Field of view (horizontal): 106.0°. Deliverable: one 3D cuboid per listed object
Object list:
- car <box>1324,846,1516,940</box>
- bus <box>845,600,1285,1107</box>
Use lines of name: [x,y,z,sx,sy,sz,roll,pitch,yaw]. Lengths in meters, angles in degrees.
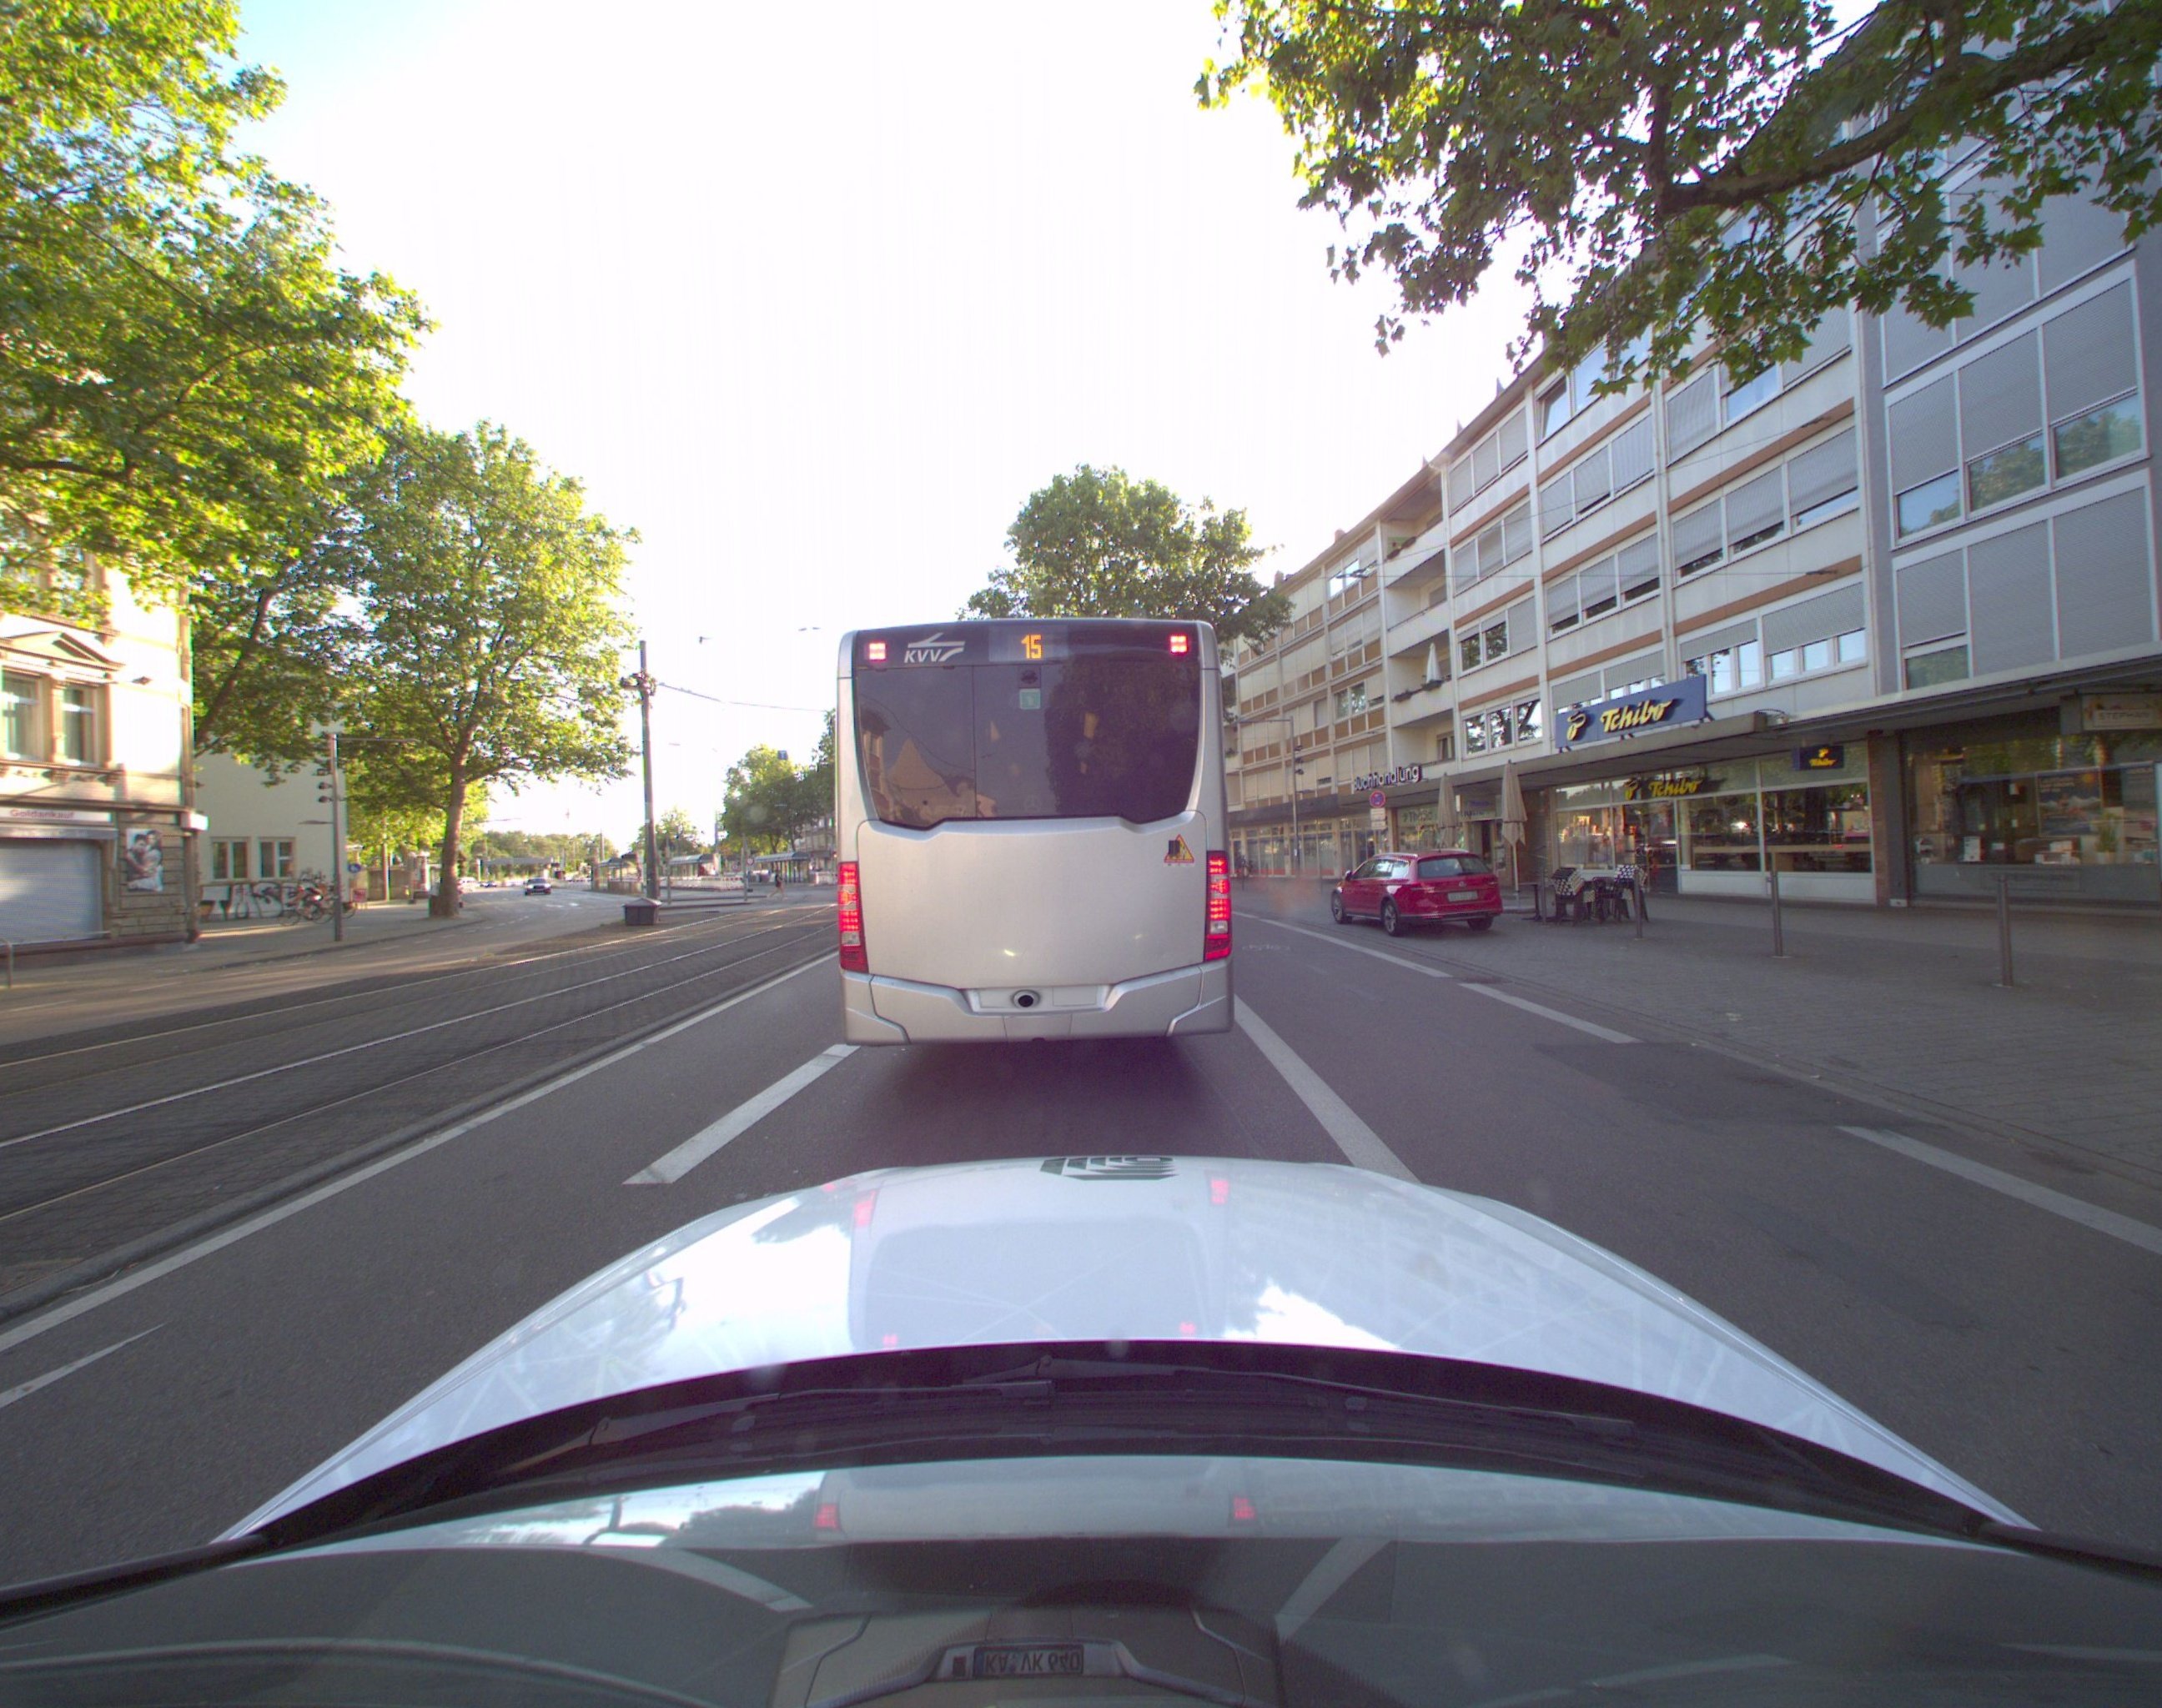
car: [6.335,0.671,15.837,1.765,1.482,4.300,-3,0,-2]
bus: [0.045,0.029,9.933,2.621,3.028,10.000,-1,0,2]
